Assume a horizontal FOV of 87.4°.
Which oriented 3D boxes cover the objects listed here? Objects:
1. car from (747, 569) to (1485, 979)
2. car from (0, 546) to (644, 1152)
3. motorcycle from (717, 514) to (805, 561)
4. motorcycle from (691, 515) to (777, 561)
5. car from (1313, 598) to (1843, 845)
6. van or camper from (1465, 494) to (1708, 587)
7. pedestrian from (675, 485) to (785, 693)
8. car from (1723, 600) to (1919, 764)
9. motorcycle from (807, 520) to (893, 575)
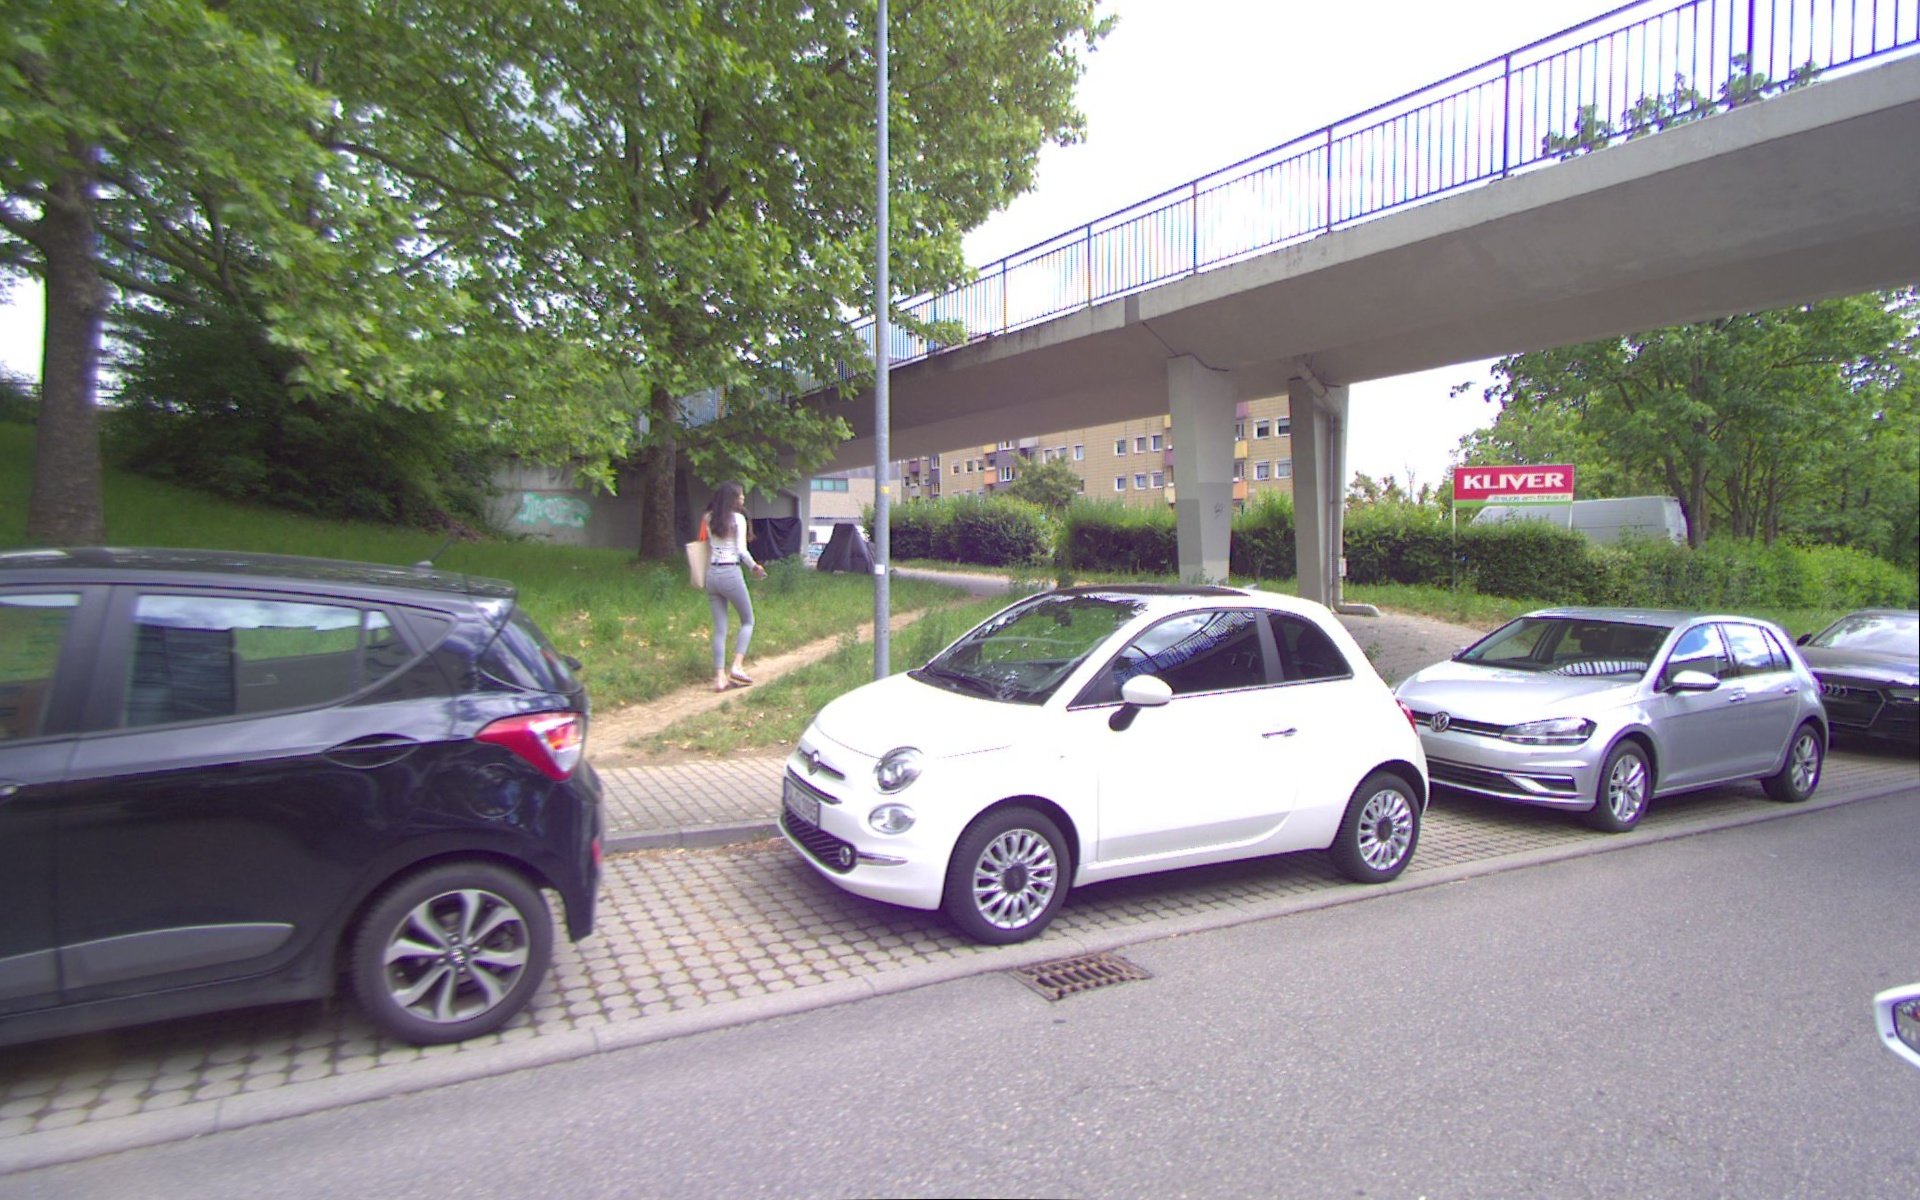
[{"bbox_3d":[0.851,0.668,5.445,3.504,1.480,1.876,1,3,-29],"label":"car"},{"bbox_3d":[-3.132,0.588,3.136,3.943,1.488,1.782,1,2,-23],"label":"car"},{"bbox_3d":[-5.646,-1.753,28.580,2.292,1.288,0.878,-1,3,-35],"label":"motorcycle"},{"bbox_3d":[-6.573,-1.787,29.250,2.292,1.288,0.878,-1,3,-35],"label":"motorcycle"},{"bbox_3d":[4.924,0.748,7.949,3.952,1.446,1.876,0,2,-30],"label":"car"},{"bbox_3d":[15.683,-1.472,25.434,1.979,2.114,4.822,-1,3,-34],"label":"van or camper"},{"bbox_3d":[-2.011,-0.116,8.900,0.724,1.746,0.660,0,10,3],"label":"pedestrian"},{"bbox_3d":[10.742,0.807,11.480,4.406,1.529,1.873,0,2,-34],"label":"car"},{"bbox_3d":[-2.672,-1.263,24.304,2.011,1.288,0.884,0,3,-12],"label":"motorcycle"}]
